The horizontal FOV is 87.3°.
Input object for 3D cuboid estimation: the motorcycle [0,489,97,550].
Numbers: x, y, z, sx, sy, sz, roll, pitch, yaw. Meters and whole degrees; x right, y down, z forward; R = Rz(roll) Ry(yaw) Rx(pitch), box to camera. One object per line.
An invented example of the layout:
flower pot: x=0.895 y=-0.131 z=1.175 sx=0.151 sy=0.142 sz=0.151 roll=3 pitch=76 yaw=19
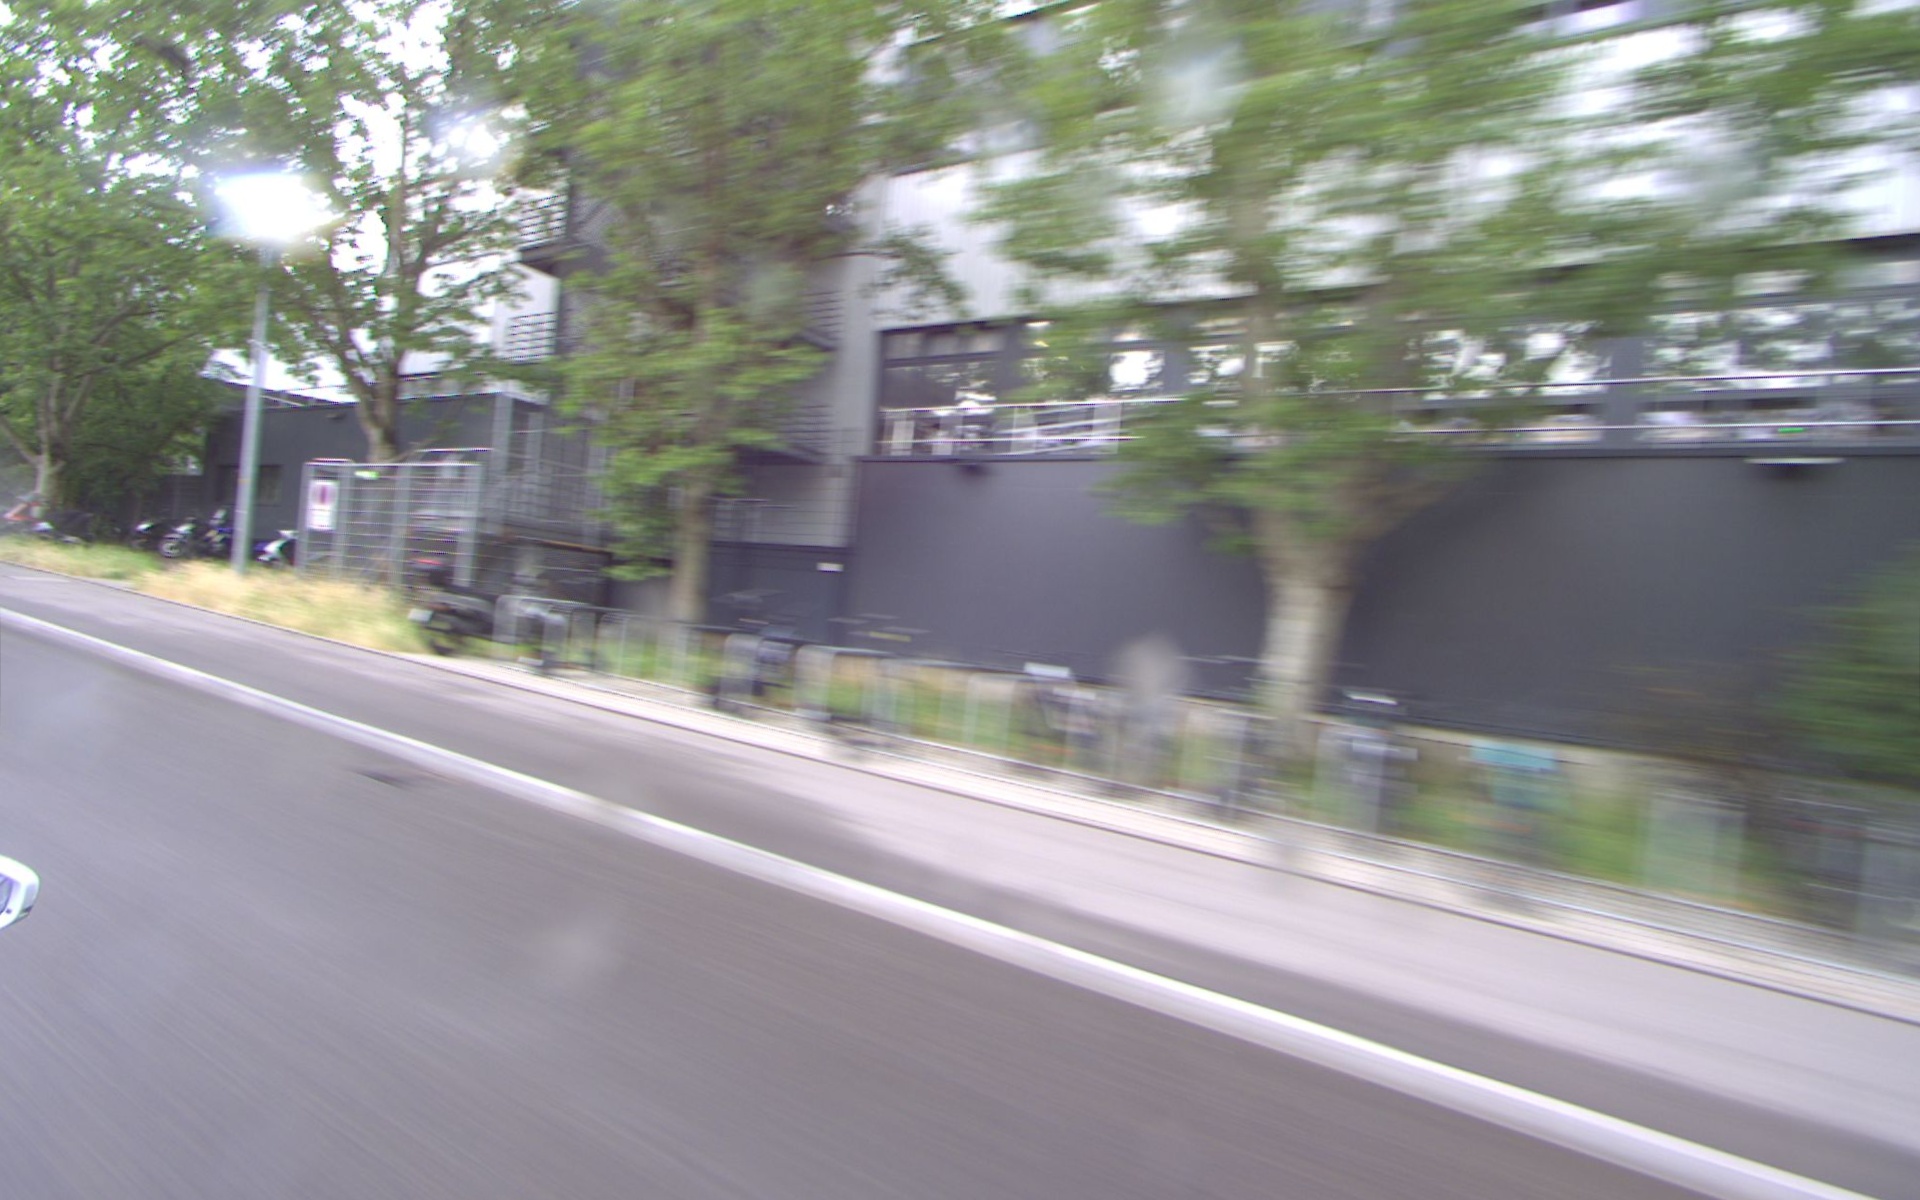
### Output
motorcycle: x=-21.589 y=-1.886 z=23.781 sx=0.486 sy=1.163 sz=1.653 roll=6 pitch=-2 yaw=39

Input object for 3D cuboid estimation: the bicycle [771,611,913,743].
bicycle: x=-1.148 y=0.755 z=10.189 sx=0.440 sy=1.182 sz=1.792 roll=6 pitch=1 yaw=25

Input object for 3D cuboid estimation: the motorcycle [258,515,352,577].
motorcycle: x=-14.739 y=-1.217 z=22.641 sx=1.861 sy=1.159 sz=0.478 roll=7 pitch=-1 yaw=12

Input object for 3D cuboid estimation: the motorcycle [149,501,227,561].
motorcycle: x=-20.949 y=-1.846 z=27.320 sx=0.497 sy=1.380 sz=1.503 roll=6 pitch=-2 yaw=26

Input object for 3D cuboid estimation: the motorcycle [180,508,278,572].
motorcycle: x=-19.111 y=-1.538 z=26.347 sx=0.497 sy=1.380 sz=1.934 roll=6 pitch=-2 yaw=26

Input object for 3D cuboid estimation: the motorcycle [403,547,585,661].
motorcycle: x=-5.886 y=0.089 z=12.823 sx=0.435 sy=1.289 sz=2.003 roll=7 pitch=1 yaw=43

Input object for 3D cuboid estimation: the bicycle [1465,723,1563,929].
bicycle: x=3.535 y=1.355 z=6.372 sx=0.387 sy=1.018 sz=1.553 roll=7 pitch=1 yaw=31

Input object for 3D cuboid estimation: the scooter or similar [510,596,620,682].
scooter or similar: x=-4.725 y=0.461 z=12.128 sx=0.359 sy=0.949 sz=1.478 roll=6 pitch=0 yaw=14

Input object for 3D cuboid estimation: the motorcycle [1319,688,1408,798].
motorcycle: x=4.455 y=1.526 z=11.049 sx=0.567 sy=1.014 sz=1.609 roll=6 pitch=1 yaw=31

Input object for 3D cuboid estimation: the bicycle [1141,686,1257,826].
bicycle: x=1.998 y=1.226 z=8.268 sx=0.387 sy=0.970 sz=1.553 roll=7 pitch=1 yaw=31

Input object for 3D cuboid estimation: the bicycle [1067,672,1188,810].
bicycle: x=1.465 y=1.156 z=8.604 sx=0.387 sy=1.018 sz=1.553 roll=7 pitch=1 yaw=31

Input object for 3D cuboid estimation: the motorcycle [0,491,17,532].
motorcycle: x=-32.562 y=-3.024 z=33.861 sx=1.958 sy=1.295 sz=0.646 roll=6 pitch=1 yaw=31

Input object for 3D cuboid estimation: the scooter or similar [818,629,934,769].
scooter or similar: x=-0.704 y=0.833 z=8.737 sx=0.307 sy=1.105 sz=1.215 roll=7 pitch=1 yaw=27

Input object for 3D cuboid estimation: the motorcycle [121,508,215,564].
motorcycle: x=-22.400 y=-1.786 z=28.486 sx=0.484 sy=1.272 sz=1.915 roll=6 pitch=-2 yaw=37

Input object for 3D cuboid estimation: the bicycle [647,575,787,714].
bicycle: x=-2.619 y=0.483 z=11.080 sx=0.439 sy=1.365 sz=1.863 roll=6 pitch=1 yaw=19

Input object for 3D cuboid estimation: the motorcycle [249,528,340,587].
motorcycle: x=-15.871 y=-1.006 z=24.016 sx=0.552 sy=1.159 sz=1.637 roll=6 pitch=-2 yaw=42

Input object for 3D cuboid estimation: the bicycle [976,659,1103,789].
bicycle: x=0.742 y=1.059 z=8.958 sx=0.387 sy=1.018 sz=1.553 roll=7 pitch=1 yaw=31

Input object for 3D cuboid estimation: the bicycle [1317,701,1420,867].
bicycle: x=3.087 y=1.316 z=7.531 sx=0.387 sy=1.018 sz=1.553 roll=7 pitch=1 yaw=31

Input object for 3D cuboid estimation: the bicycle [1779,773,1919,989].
bicycle: x=5.450 y=1.636 z=6.144 sx=0.381 sy=0.951 sz=1.609 roll=6 pitch=1 yaw=31

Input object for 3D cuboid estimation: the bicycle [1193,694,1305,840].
bicycle: x=2.345 y=1.282 z=8.057 sx=0.387 sy=0.970 sz=1.553 roll=7 pitch=1 yaw=31
